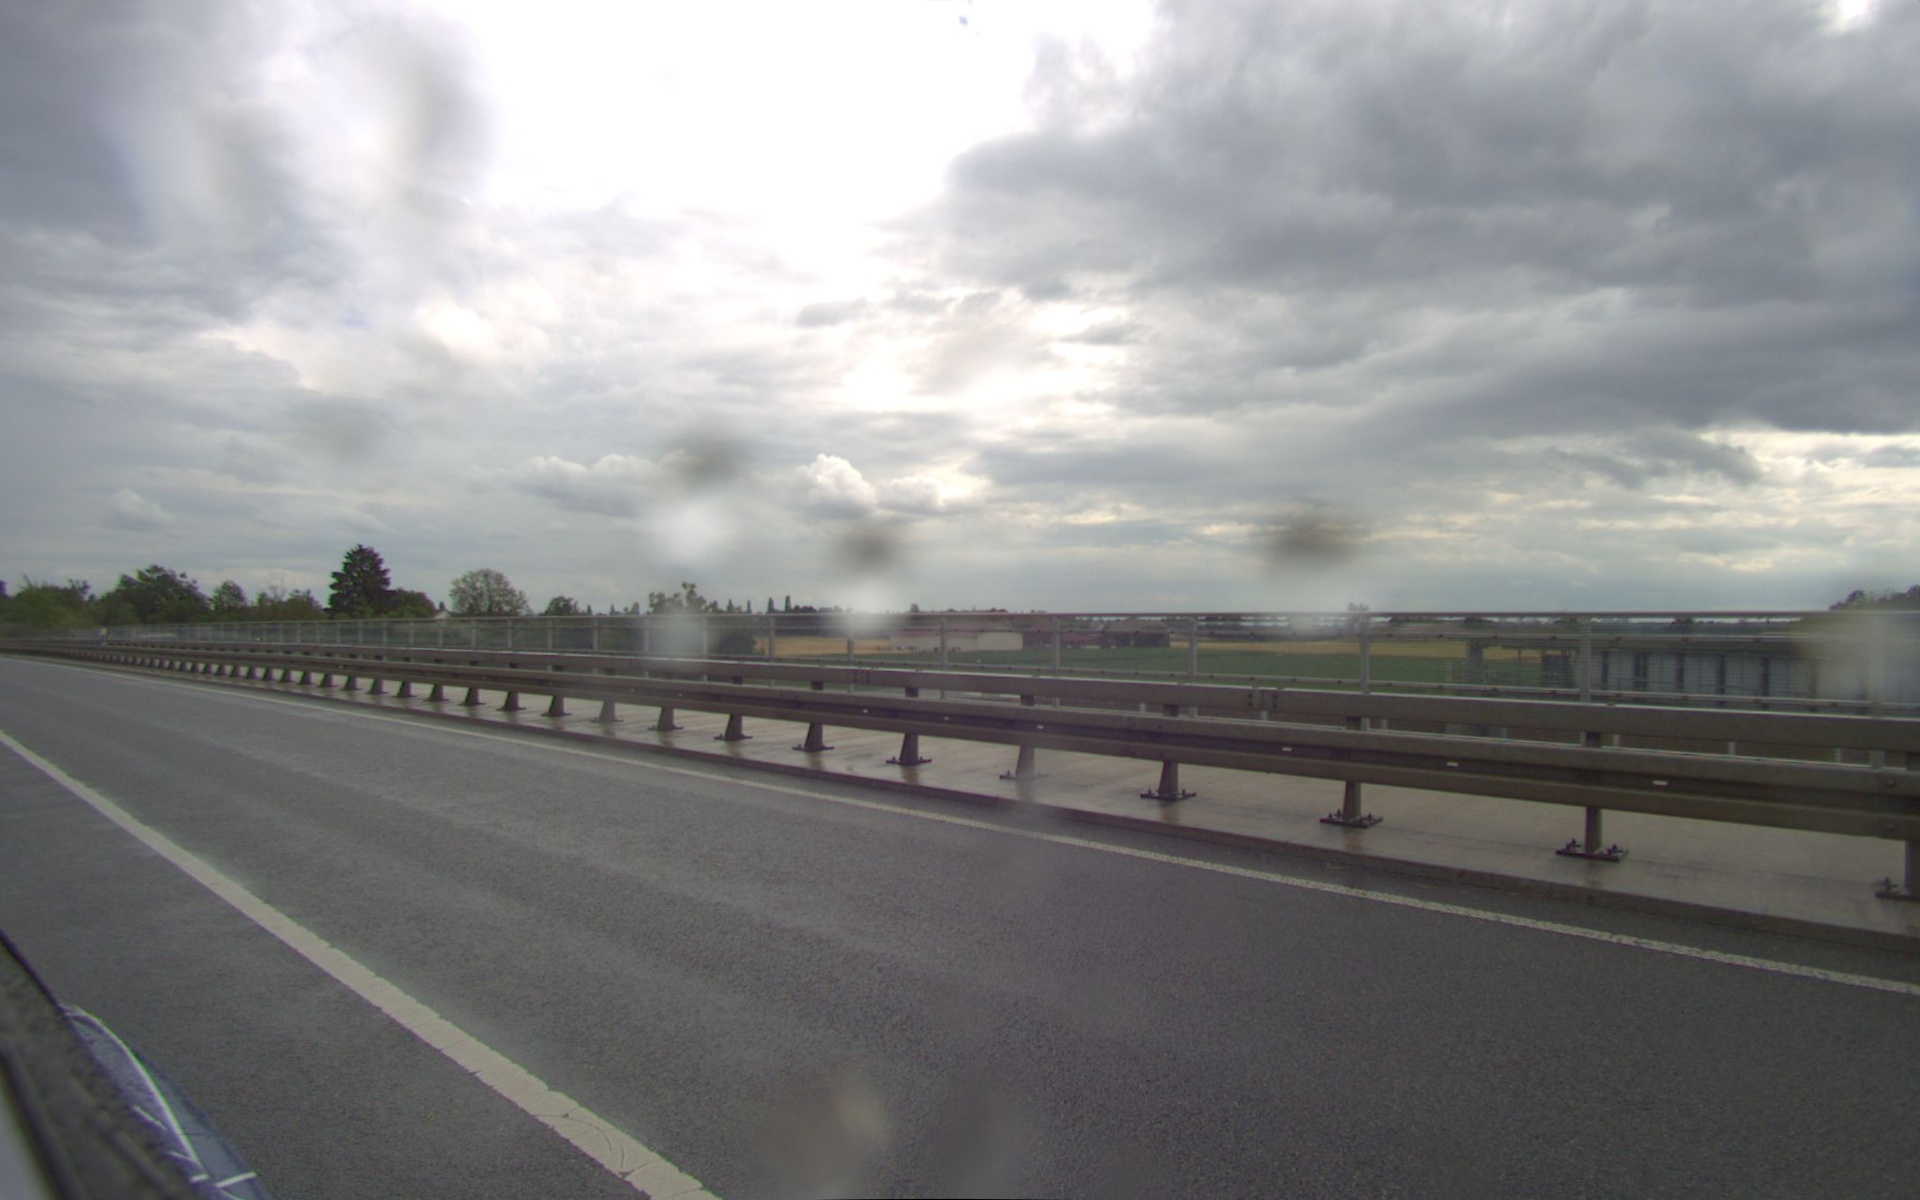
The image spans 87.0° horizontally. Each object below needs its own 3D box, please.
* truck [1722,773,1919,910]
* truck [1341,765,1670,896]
[{"bbox_3d":[33.324,8.389,35.791,11.006,4.031,2.438,-1,0,-2],"label":"truck"},{"bbox_3d":[20.225,8.525,37.846,11.006,4.031,2.438,-1,0,-2],"label":"truck"}]
